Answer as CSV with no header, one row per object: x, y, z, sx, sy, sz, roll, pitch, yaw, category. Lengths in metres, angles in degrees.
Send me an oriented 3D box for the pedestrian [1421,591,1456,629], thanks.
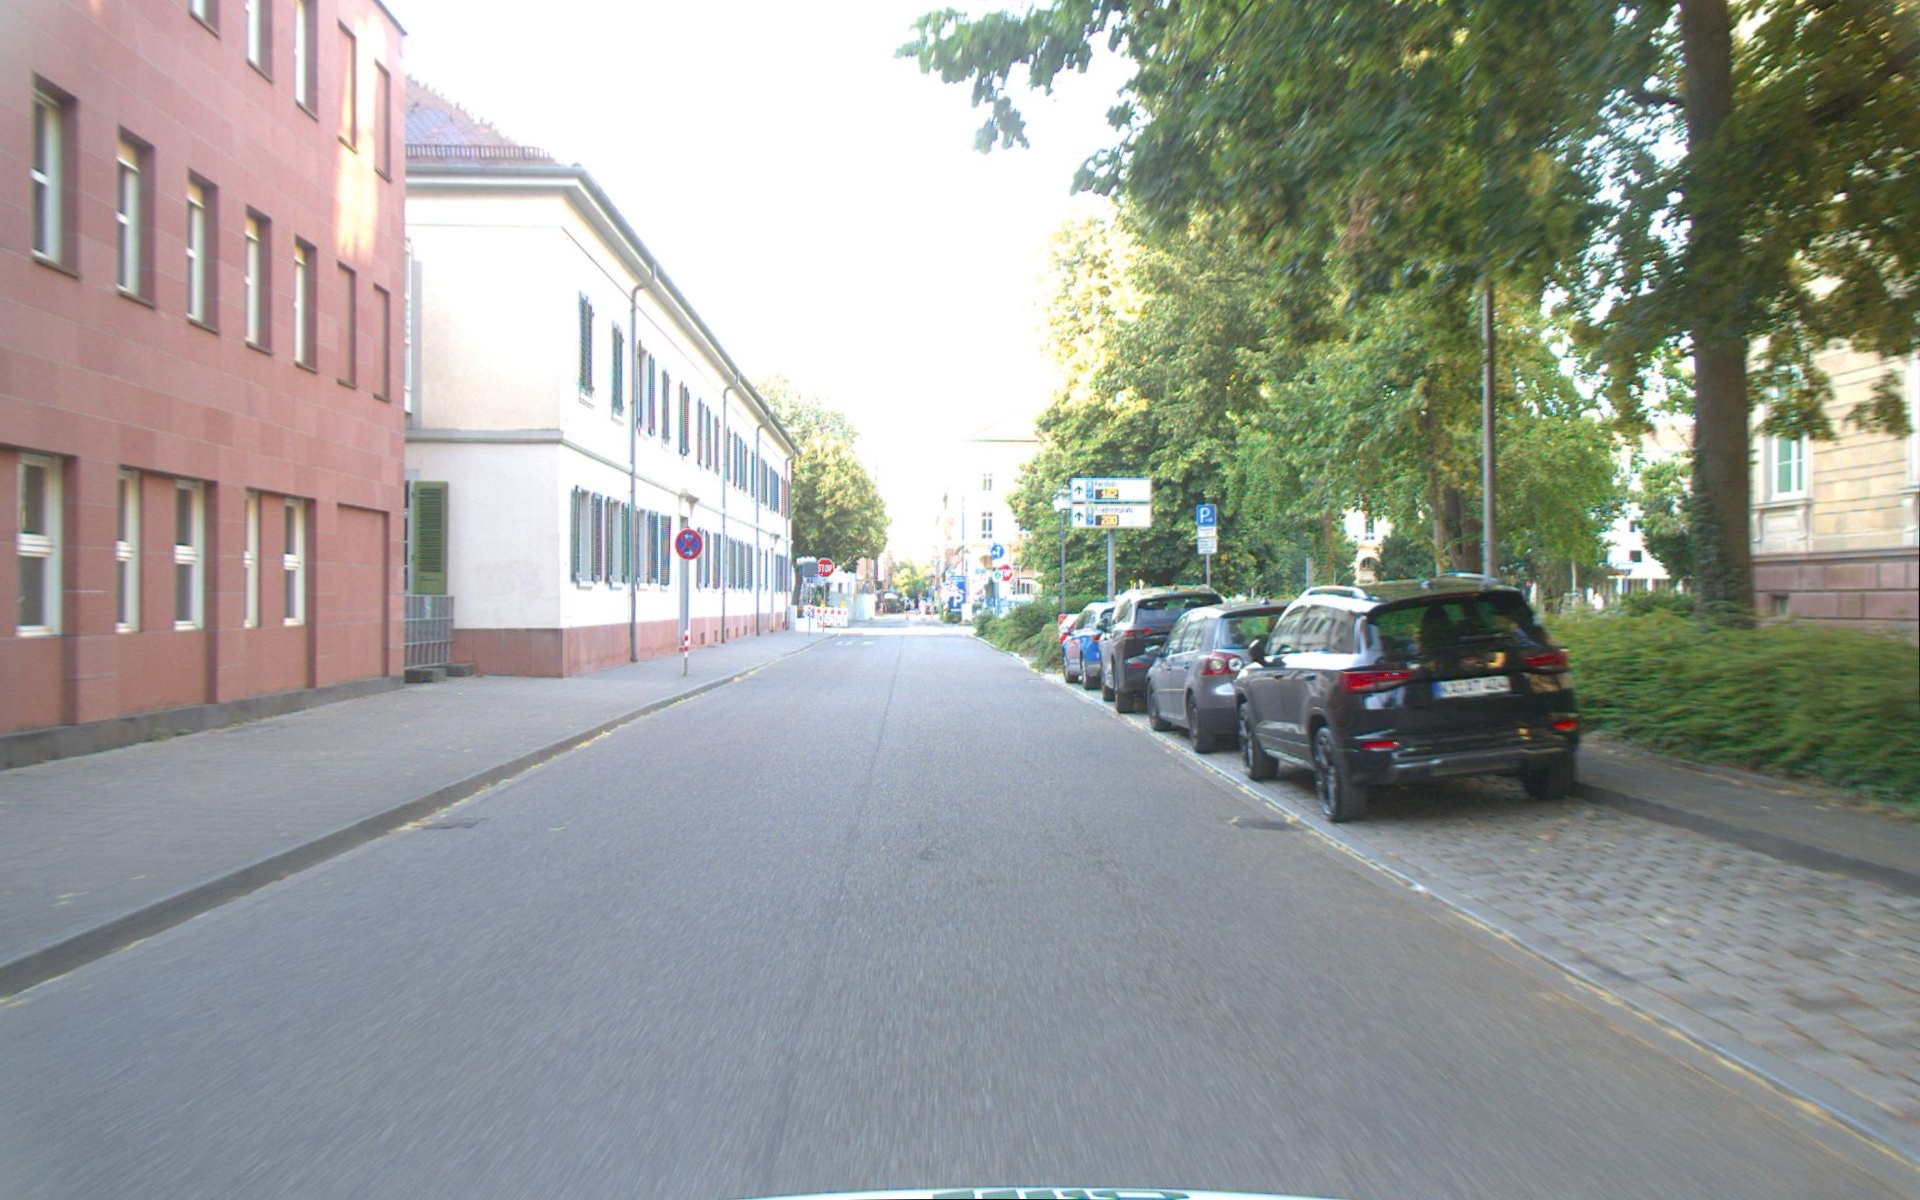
17.524,0.362,60.614,0.902,1.371,0.880,-1,-1,-17,pedestrian

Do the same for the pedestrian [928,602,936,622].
-2.322,0.966,136.930,0.644,1.645,0.745,-1,0,-1,pedestrian

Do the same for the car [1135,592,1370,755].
3.081,0.746,18.247,1.689,1.565,4.187,-1,-1,-2,car

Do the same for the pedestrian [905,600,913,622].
-4.296,0.898,138.622,0.644,1.790,0.745,-1,0,-1,pedestrian

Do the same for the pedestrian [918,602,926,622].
-3.206,1.011,138.801,0.644,1.664,0.745,-1,0,-1,pedestrian

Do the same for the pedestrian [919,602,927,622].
-3.038,1.011,136.829,0.644,1.645,0.745,-1,0,-1,pedestrian

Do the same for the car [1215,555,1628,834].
3.371,0.602,13.053,1.771,1.679,4.417,-5,1,-2,car

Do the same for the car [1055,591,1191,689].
2.865,0.678,30.004,1.690,1.514,4.607,-4,0,-3,car

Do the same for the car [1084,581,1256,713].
2.906,0.636,23.824,1.689,1.680,4.711,-1,-1,-2,car
